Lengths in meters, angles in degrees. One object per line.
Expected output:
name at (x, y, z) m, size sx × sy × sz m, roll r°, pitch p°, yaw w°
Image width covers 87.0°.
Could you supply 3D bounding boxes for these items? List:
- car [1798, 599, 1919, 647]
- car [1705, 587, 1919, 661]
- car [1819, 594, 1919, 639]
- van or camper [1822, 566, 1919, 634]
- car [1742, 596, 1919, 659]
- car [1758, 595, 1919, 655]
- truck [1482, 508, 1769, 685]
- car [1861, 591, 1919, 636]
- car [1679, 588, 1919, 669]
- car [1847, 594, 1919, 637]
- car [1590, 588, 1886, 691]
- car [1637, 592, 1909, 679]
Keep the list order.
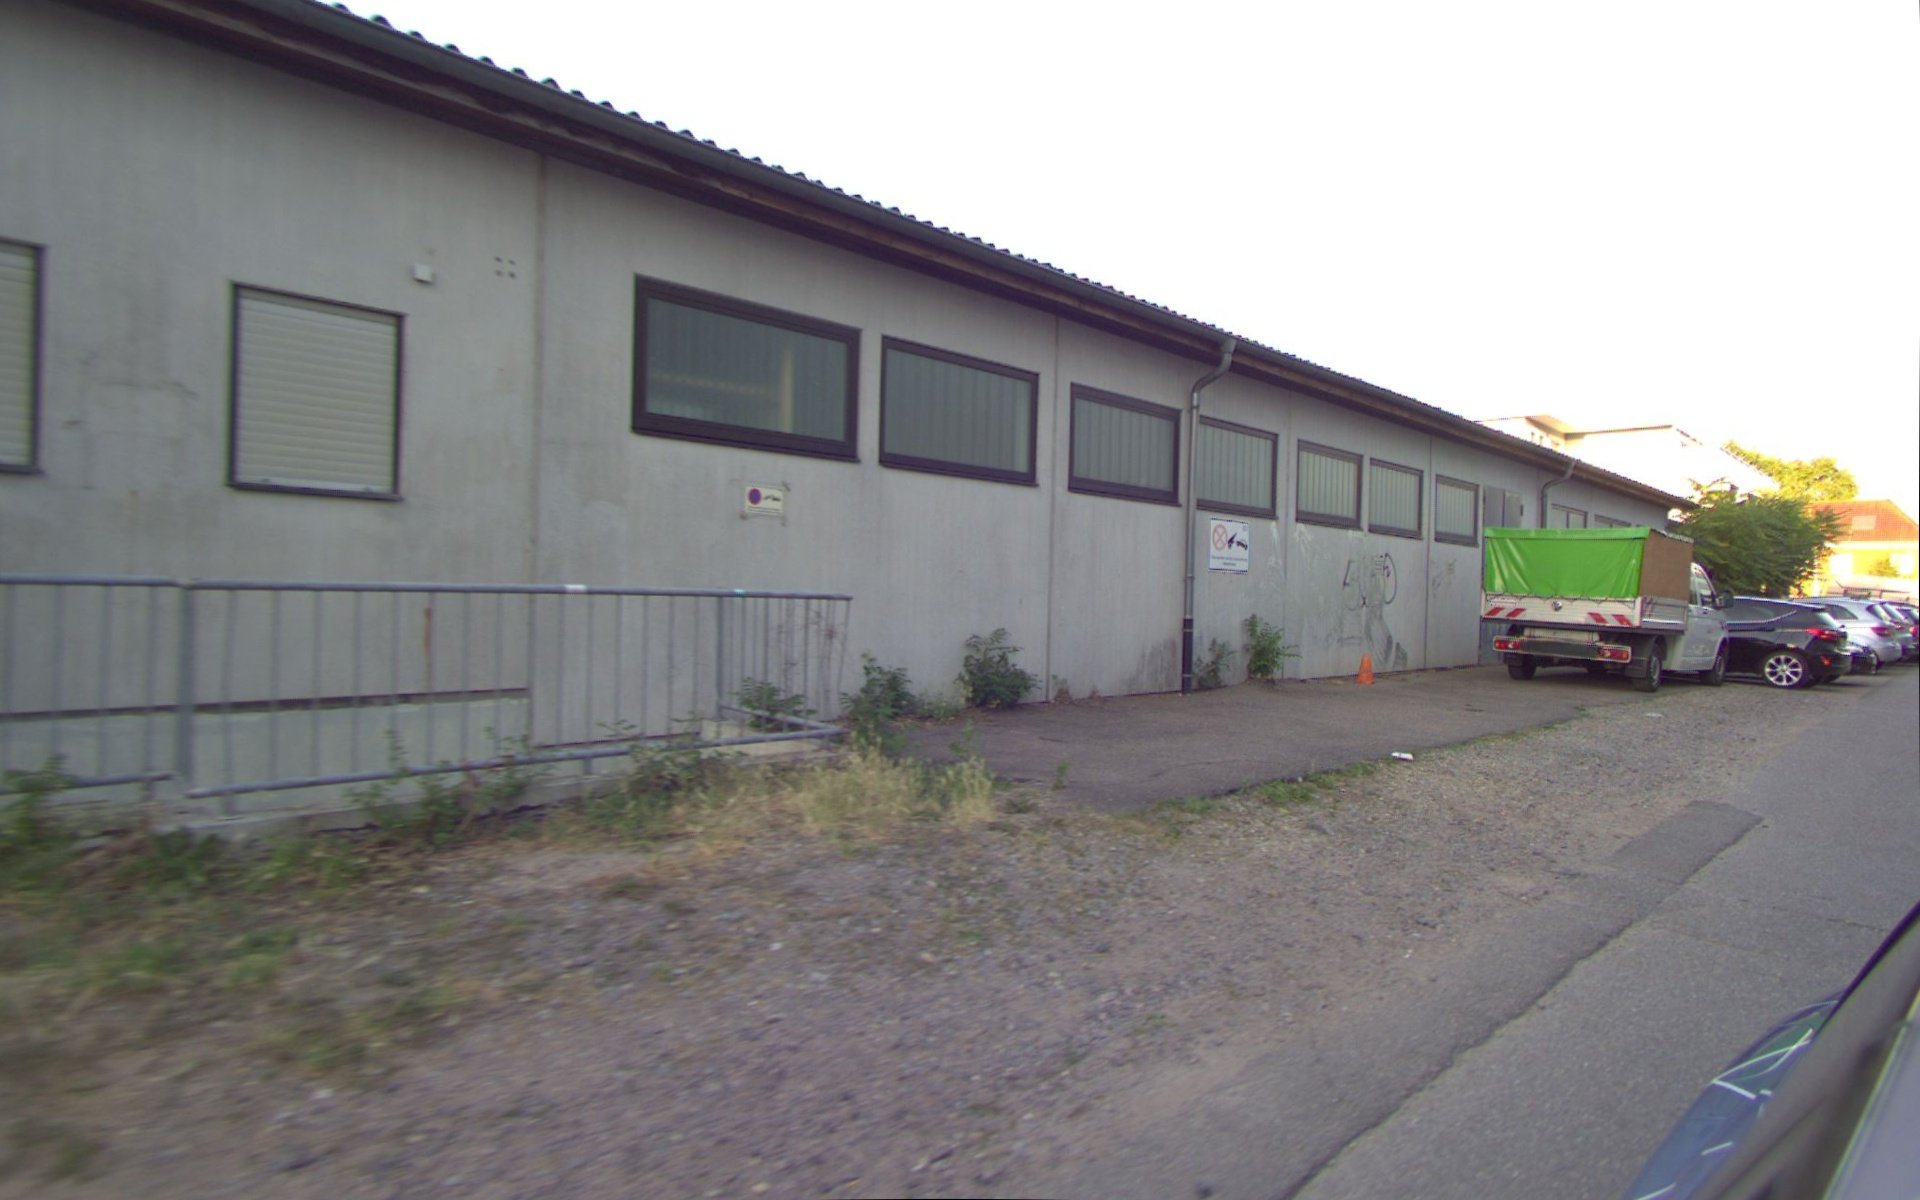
car at (28.175, 0.691, 30.504) m, size 1.789 × 1.384 × 4.215 m, roll 1°, pitch 0°, yaw -36°
car at (20.526, 0.515, 24.322) m, size 1.796 × 1.640 × 3.988 m, roll 1°, pitch 0°, yaw -43°
car at (34.705, 0.626, 37.848) m, size 1.682 × 1.497 × 3.712 m, roll 1°, pitch 2°, yaw -41°
van or camper at (42.324, 0.016, 44.907) m, size 2.443 × 2.899 × 5.792 m, roll 1°, pitch 2°, yaw -41°
car at (22.624, 0.653, 25.794) m, size 1.794 × 1.463 × 3.993 m, roll 0°, pitch 1°, yaw -39°
car at (24.488, 0.628, 27.410) m, size 1.855 × 1.522 × 4.213 m, roll 0°, pitch 1°, yaw -38°
truck at (10.253, 0.002, 15.370) m, size 5.609 × 2.228 × 2.102 m, roll 2°, pitch 0°, yaw -40°
car at (40.608, 0.613, 42.132) m, size 1.930 × 1.762 × 4.257 m, roll 1°, pitch 2°, yaw -35°
car at (18.628, 0.570, 22.483) m, size 1.905 × 1.630 × 3.991 m, roll 1°, pitch 0°, yaw -40°
car at (38.219, 0.645, 40.427) m, size 1.683 × 1.583 × 4.009 m, roll 1°, pitch 2°, yaw -43°
car at (13.395, 0.584, 17.598) m, size 1.857 × 1.555 × 3.769 m, roll -1°, pitch 1°, yaw -38°
car at (15.240, 0.586, 19.118) m, size 1.813 × 1.463 × 3.766 m, roll 0°, pitch 0°, yaw -40°
